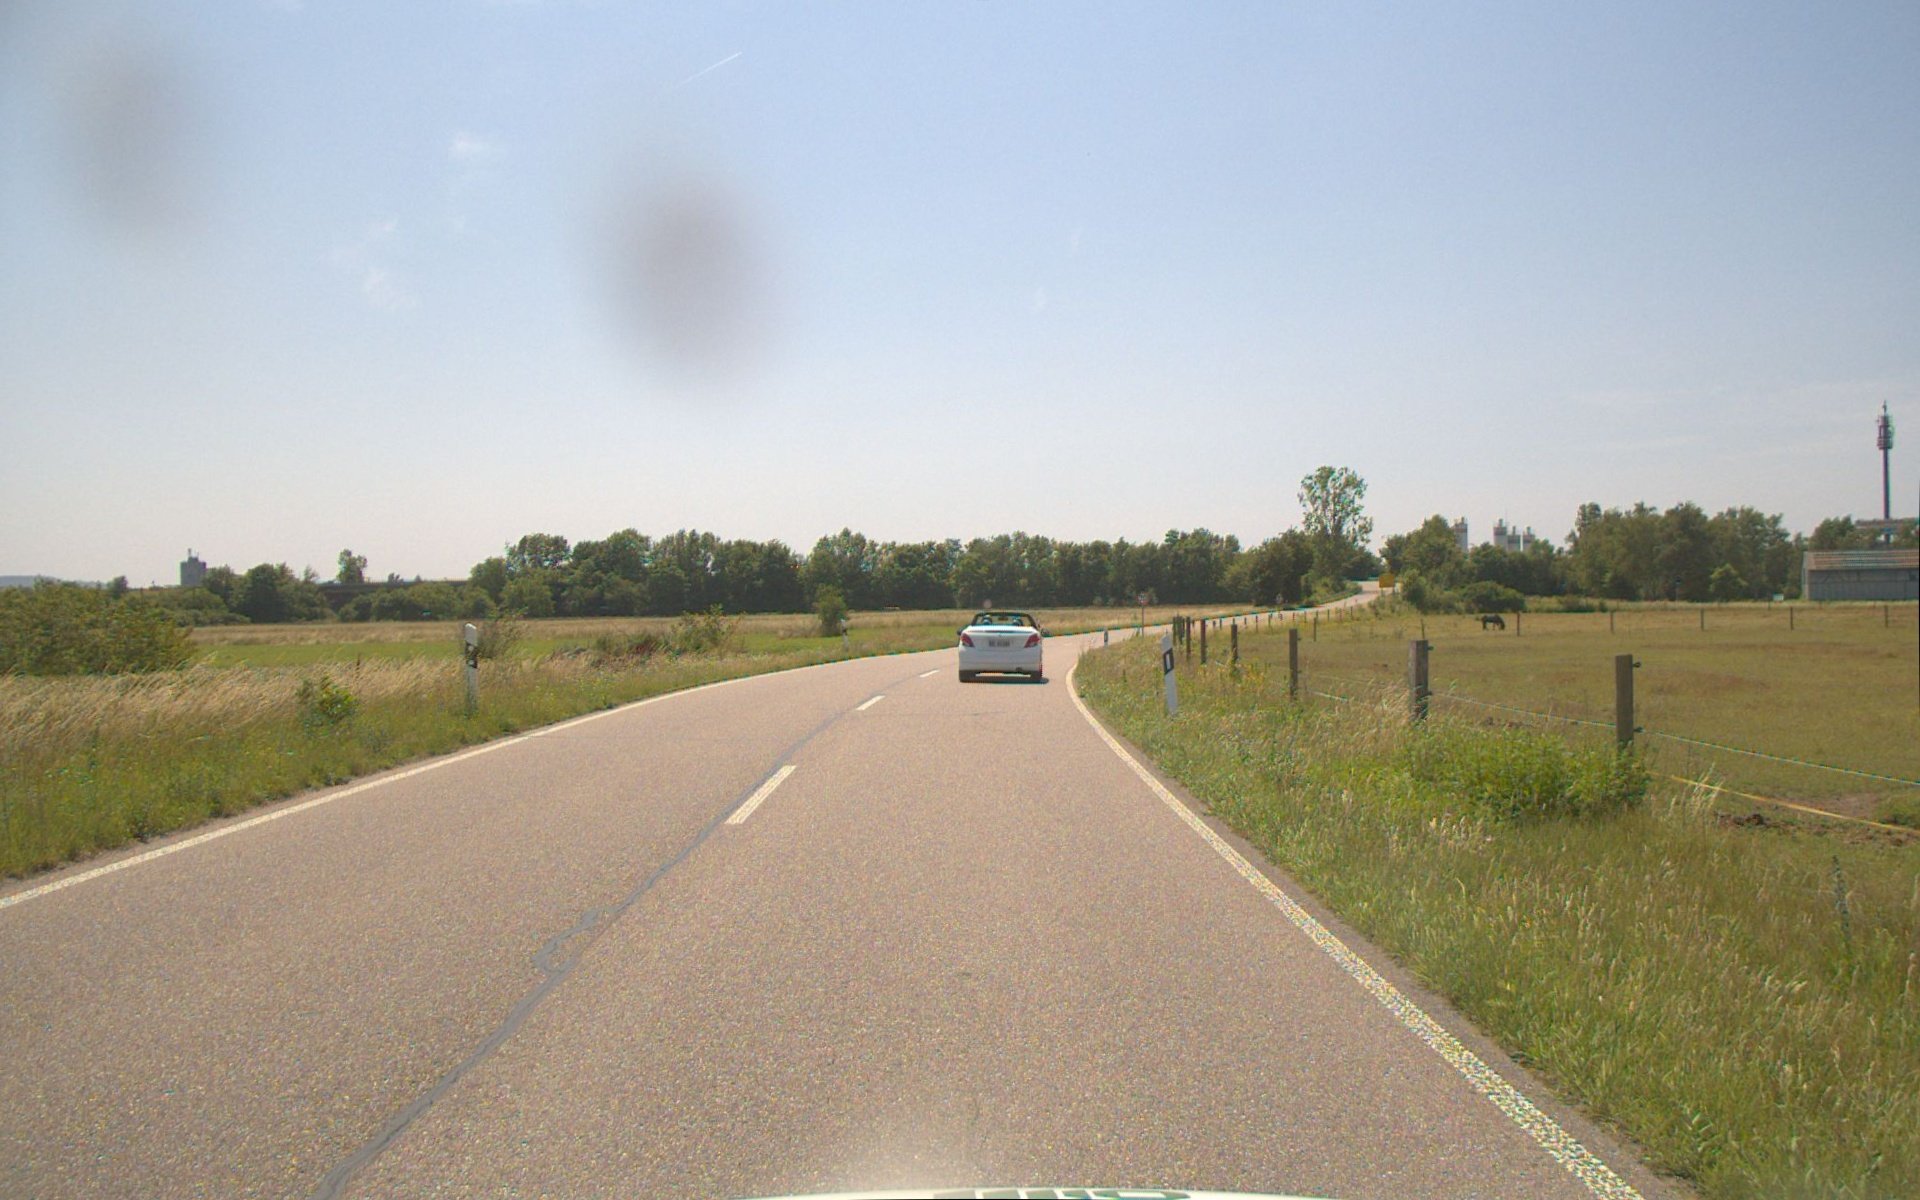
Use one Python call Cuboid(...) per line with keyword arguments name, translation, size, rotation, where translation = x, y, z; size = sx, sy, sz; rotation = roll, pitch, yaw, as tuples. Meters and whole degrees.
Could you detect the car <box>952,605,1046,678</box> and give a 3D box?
Cuboid(name="car", translation=(0.855, 0.838, 34.312), size=(1.812, 1.403, 4.001), rotation=(1, -1, 2))
